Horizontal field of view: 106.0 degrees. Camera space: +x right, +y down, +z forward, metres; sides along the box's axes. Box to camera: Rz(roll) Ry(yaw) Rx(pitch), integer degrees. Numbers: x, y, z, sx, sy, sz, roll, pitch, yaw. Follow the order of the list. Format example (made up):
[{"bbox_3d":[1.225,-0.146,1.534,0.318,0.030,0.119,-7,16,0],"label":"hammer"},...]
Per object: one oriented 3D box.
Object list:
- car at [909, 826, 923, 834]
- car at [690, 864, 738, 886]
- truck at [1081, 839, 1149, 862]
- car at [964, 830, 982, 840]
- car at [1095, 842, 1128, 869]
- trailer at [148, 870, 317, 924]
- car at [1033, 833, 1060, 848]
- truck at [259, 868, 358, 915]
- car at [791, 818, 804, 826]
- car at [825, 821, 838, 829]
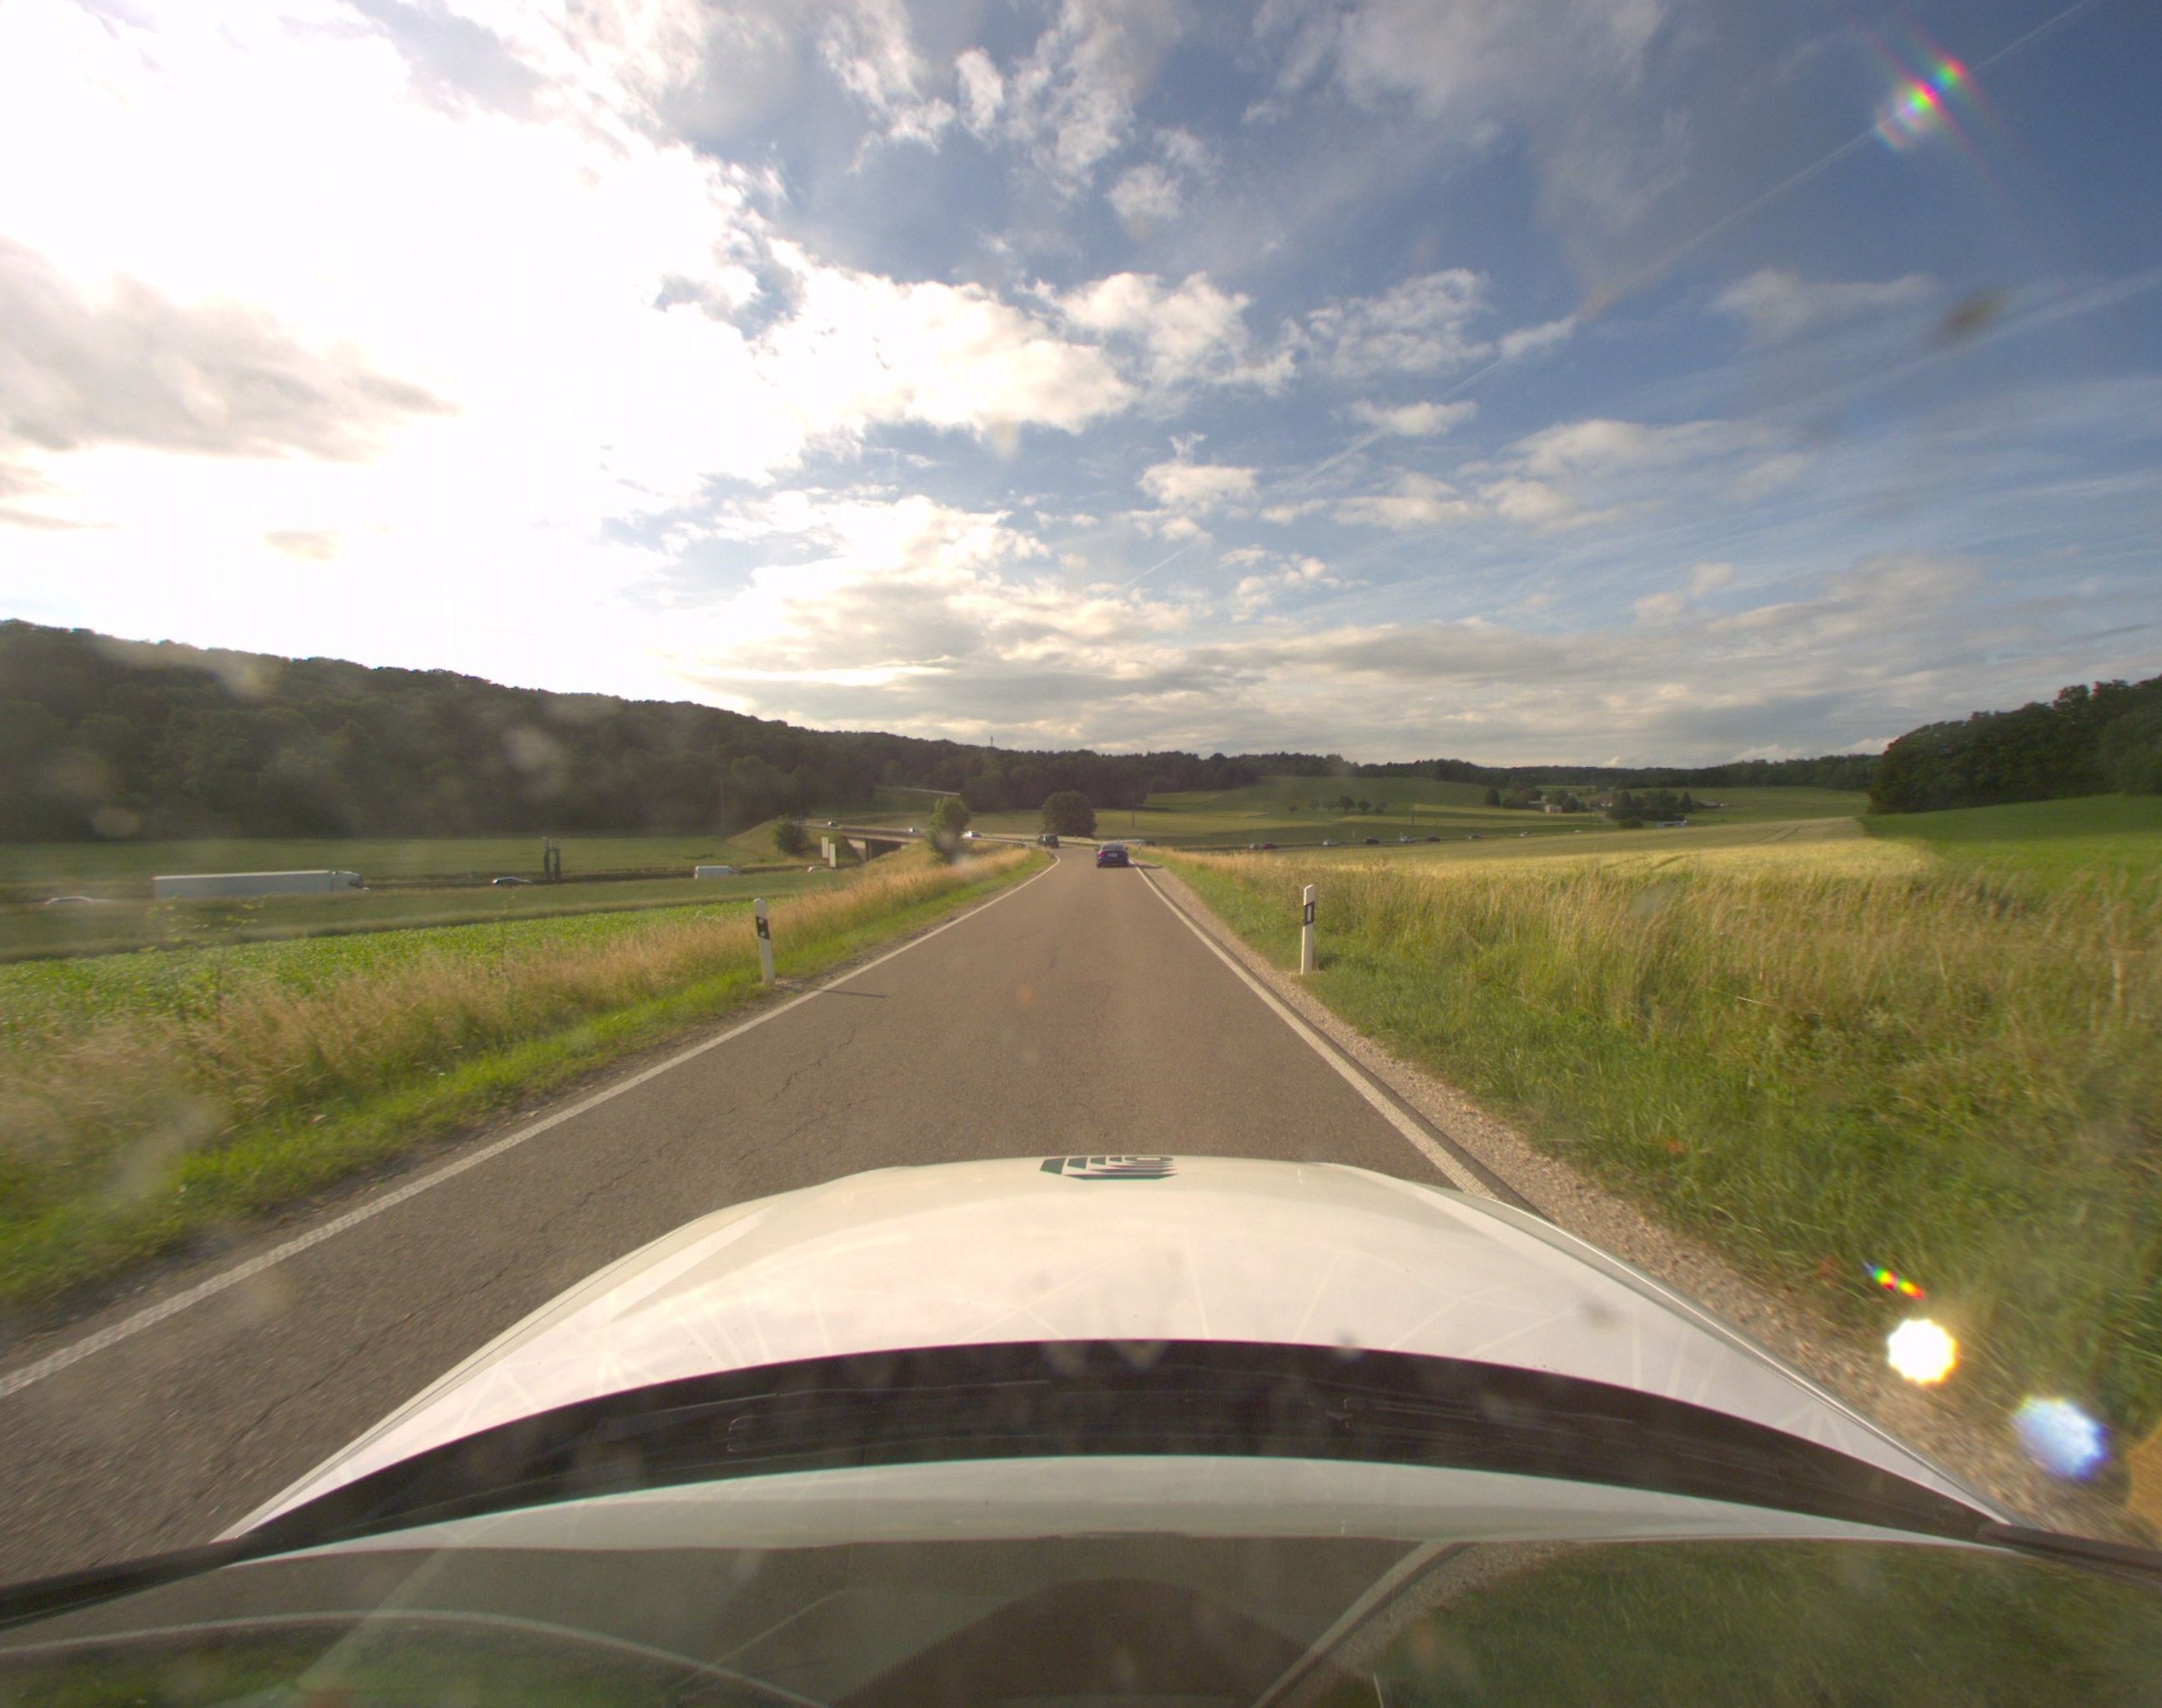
[{"bbox_3d":[-28.727,-4.155,141.993,1.480,1.227,3.268,-2,1,-30],"label":"car"},{"bbox_3d":[-56.038,3.186,124.429,6.154,2.582,2.348,-5,10,-38],"label":"car"},{"bbox_3d":[7.221,-0.747,168.859,14.487,3.996,4.035,-3,1,-35],"label":"truck"},{"bbox_3d":[-16.372,-2.882,123.392,1.690,1.376,3.968,-2,1,-24],"label":"car"},{"bbox_3d":[1.779,0.050,47.638,1.811,1.339,4.353,-3,1,2],"label":"car"},{"bbox_3d":[-95.167,4.697,91.900,12.800,4.465,2.997,-5,8,-42],"label":"trailer"},{"bbox_3d":[-3.955,-1.547,93.132,1.869,1.568,3.972,-3,2,-21],"label":"car"},{"bbox_3d":[-90.795,4.350,95.929,8.102,4.465,2.994,-5,8,-43],"label":"truck"},{"bbox_3d":[-69.581,-7.840,200.075,2.008,1.771,3.960,-6,6,-33],"label":"car"},{"bbox_3d":[-54.178,-6.290,176.774,2.005,1.678,4.141,1,2,-29],"label":"car"}]
